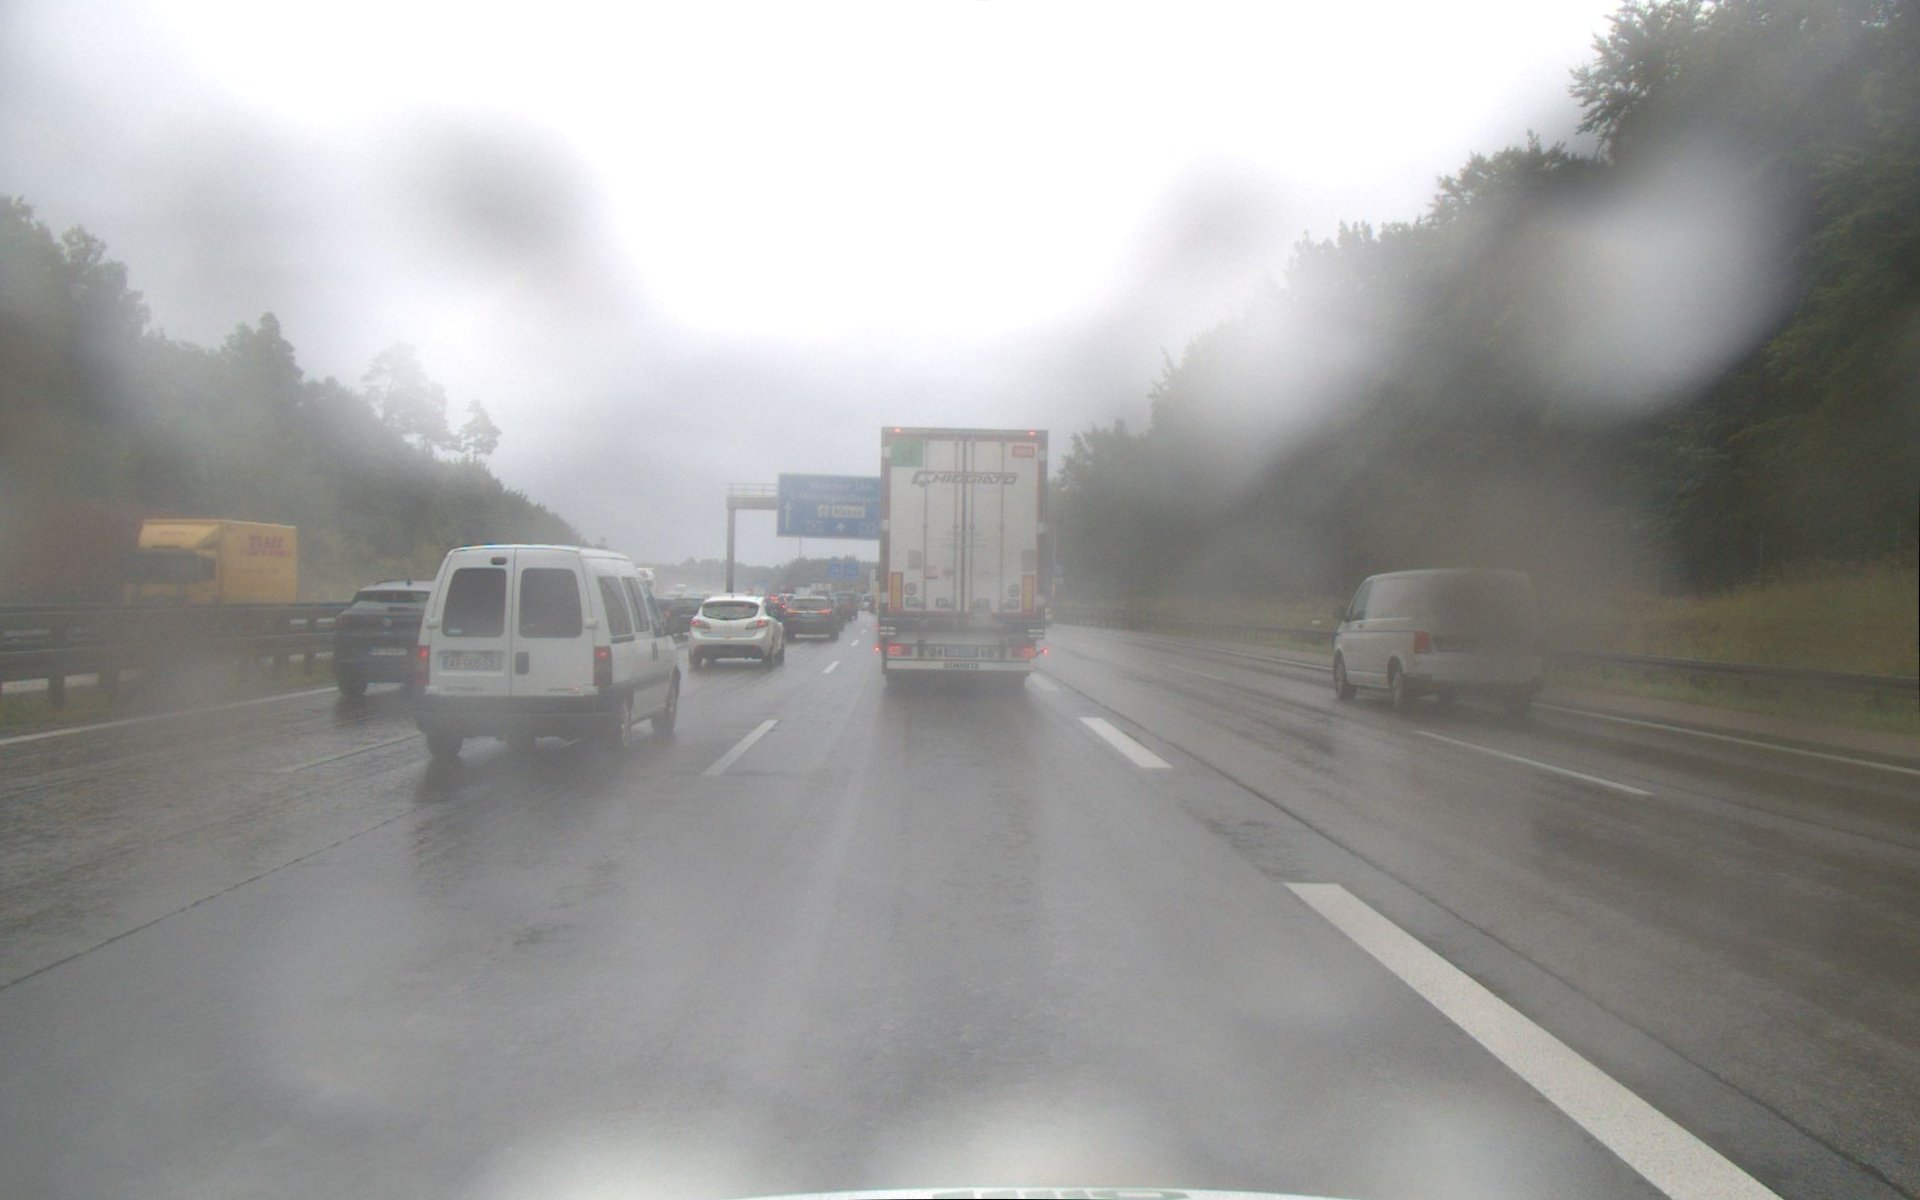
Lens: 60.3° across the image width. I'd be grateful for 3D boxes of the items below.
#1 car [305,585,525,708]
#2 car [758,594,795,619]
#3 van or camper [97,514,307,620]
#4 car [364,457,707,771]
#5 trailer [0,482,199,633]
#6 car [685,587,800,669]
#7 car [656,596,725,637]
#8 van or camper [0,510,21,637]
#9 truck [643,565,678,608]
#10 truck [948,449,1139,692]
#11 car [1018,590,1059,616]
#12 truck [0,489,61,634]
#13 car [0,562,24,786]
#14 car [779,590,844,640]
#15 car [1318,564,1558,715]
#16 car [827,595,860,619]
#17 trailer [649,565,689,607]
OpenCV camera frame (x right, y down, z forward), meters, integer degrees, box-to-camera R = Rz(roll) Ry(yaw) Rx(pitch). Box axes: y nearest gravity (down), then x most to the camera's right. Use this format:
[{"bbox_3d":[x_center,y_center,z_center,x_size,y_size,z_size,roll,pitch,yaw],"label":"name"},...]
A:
[{"bbox_3d":[-7.917,0.606,24.476,1.808,1.619,4.466,1,1,-1],"label":"car"},{"bbox_3d":[-10.910,0.368,98.480,1.808,1.354,4.465,1,1,-2],"label":"car"},{"bbox_3d":[-23.769,-0.983,52.467,2.785,3.030,8.784,1,0,-2],"label":"van or camper"},{"bbox_3d":[-3.956,0.095,16.437,2.168,2.618,5.014,1,1,-1],"label":"car"},{"bbox_3d":[-27.409,-1.190,51.011,2.566,4.096,12.368,1,0,-2],"label":"trailer"},{"bbox_3d":[-4.606,0.557,35.552,1.807,1.619,4.073,1,1,2],"label":"car"},{"bbox_3d":[-9.469,0.550,58.463,1.808,1.354,4.465,1,1,-2],"label":"car"},{"bbox_3d":[-20.543,-0.507,31.374,2.154,2.592,6.117,0,1,-2],"label":"van or camper"},{"bbox_3d":[-29.522,-1.325,163.310,2.489,4.096,6.320,1,0,-3],"label":"truck"},{"bbox_3d":[1.332,-0.436,30.520,2.813,3.624,11.303,1,0,1],"label":"truck"},{"bbox_3d":[4.428,0.168,94.237,1.756,1.431,4.223,1,0,-5],"label":"car"},{"bbox_3d":[-27.160,-1.053,44.572,2.650,3.884,6.261,1,0,-3],"label":"truck"},{"bbox_3d":[-7.815,0.545,10.014,1.808,1.619,4.465,1,1,-1],"label":"car"},{"bbox_3d":[-5.060,0.484,56.723,1.808,1.619,4.466,1,1,0],"label":"car"},{"bbox_3d":[6.787,0.489,24.070,1.950,1.954,4.765,1,1,-2],"label":"car"},{"bbox_3d":[-7.086,0.417,100.847,1.808,1.354,4.465,1,1,-2],"label":"car"},{"bbox_3d":[-29.980,-1.442,170.886,2.490,4.096,13.841,1,0,-3],"label":"trailer"}]
